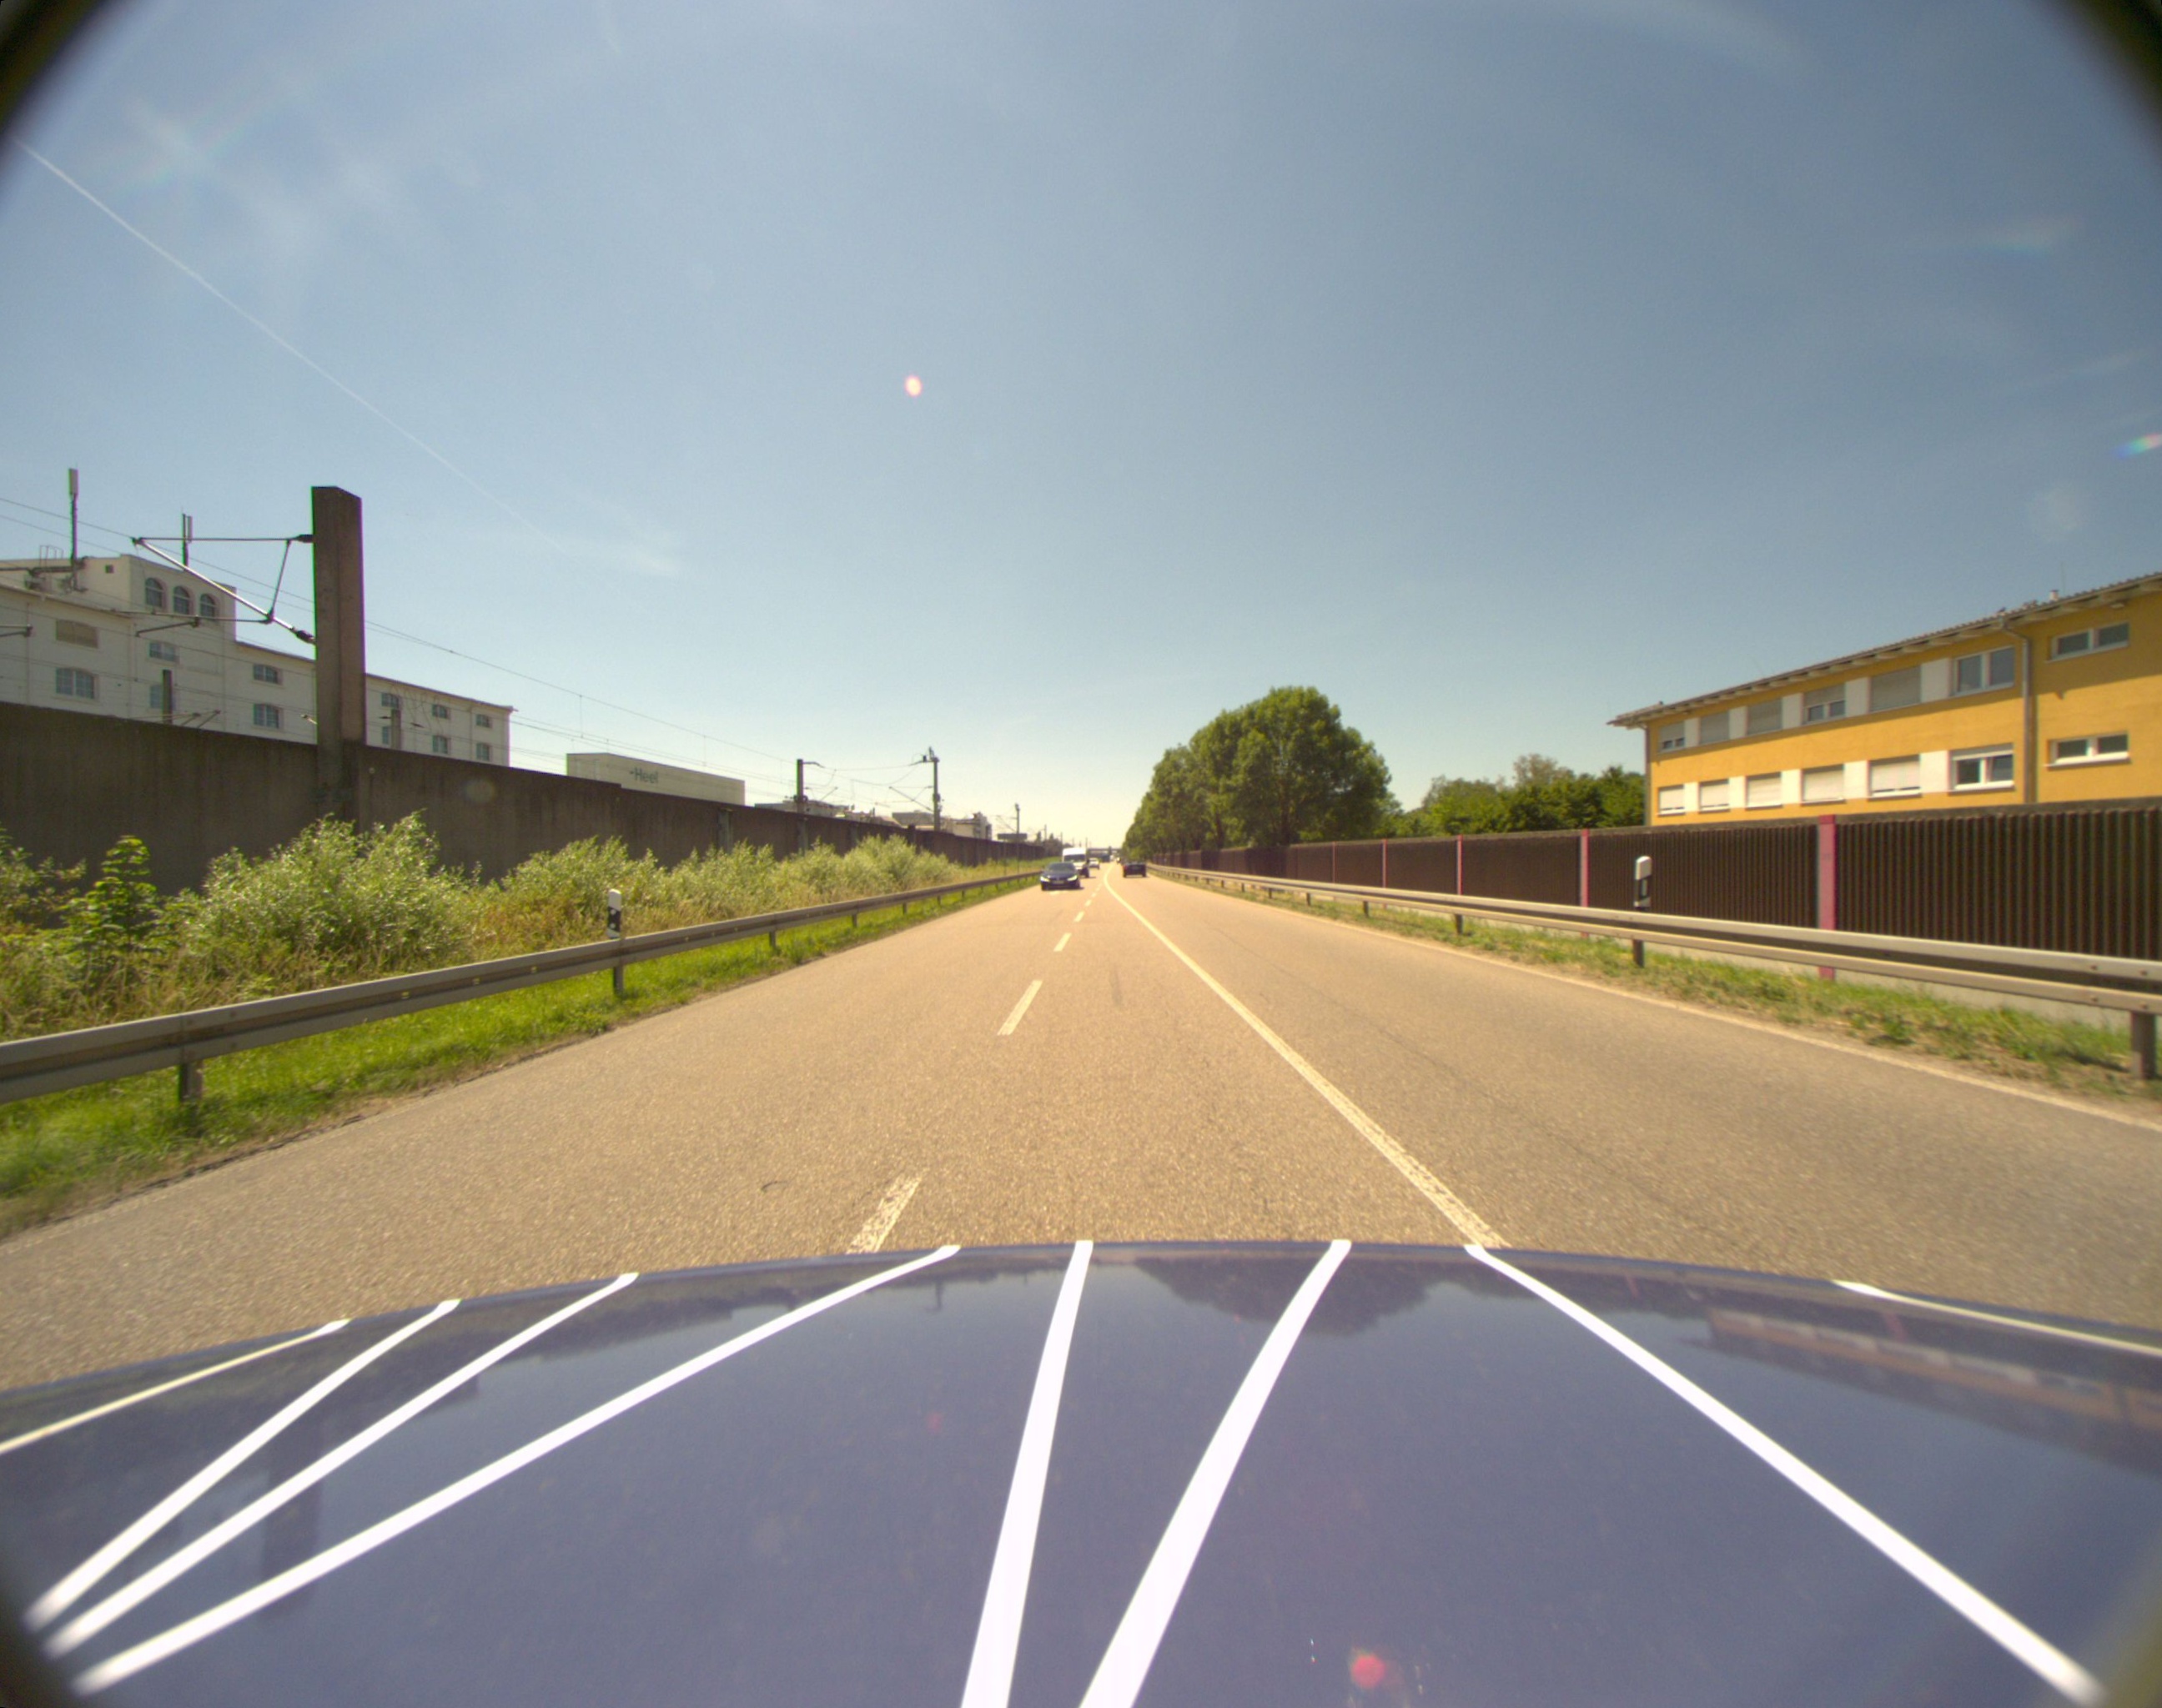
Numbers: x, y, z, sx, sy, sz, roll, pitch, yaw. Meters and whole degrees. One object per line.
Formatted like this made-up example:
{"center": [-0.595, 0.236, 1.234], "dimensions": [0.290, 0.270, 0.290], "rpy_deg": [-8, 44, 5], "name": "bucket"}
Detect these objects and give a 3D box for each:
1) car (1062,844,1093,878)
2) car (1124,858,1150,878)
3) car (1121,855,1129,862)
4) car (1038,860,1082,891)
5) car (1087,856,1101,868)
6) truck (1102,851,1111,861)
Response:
{"center": [-0.236, 0.554, 63.083], "dimensions": [2.193, 2.588, 6.751], "rpy_deg": [-2, 0, 2], "name": "car"}
{"center": [4.332, 1.050, 59.015], "dimensions": [1.849, 1.382, 4.191], "rpy_deg": [-2, 0, 2], "name": "car"}
{"center": [10.556, 1.055, 184.104], "dimensions": [1.757, 1.499, 4.530], "rpy_deg": [-2, 0, 2], "name": "car"}
{"center": [-1.035, 1.076, 39.409], "dimensions": [1.861, 1.371, 4.504], "rpy_deg": [-2, 0, 3], "name": "car"}
{"center": [1.706, 1.088, 101.928], "dimensions": [1.822, 1.554, 4.278], "rpy_deg": [-2, 0, 0], "name": "car"}
{"center": [7.724, 0.538, 231.297], "dimensions": [2.616, 3.024, 10.656], "rpy_deg": [-1, 0, 2], "name": "truck"}
